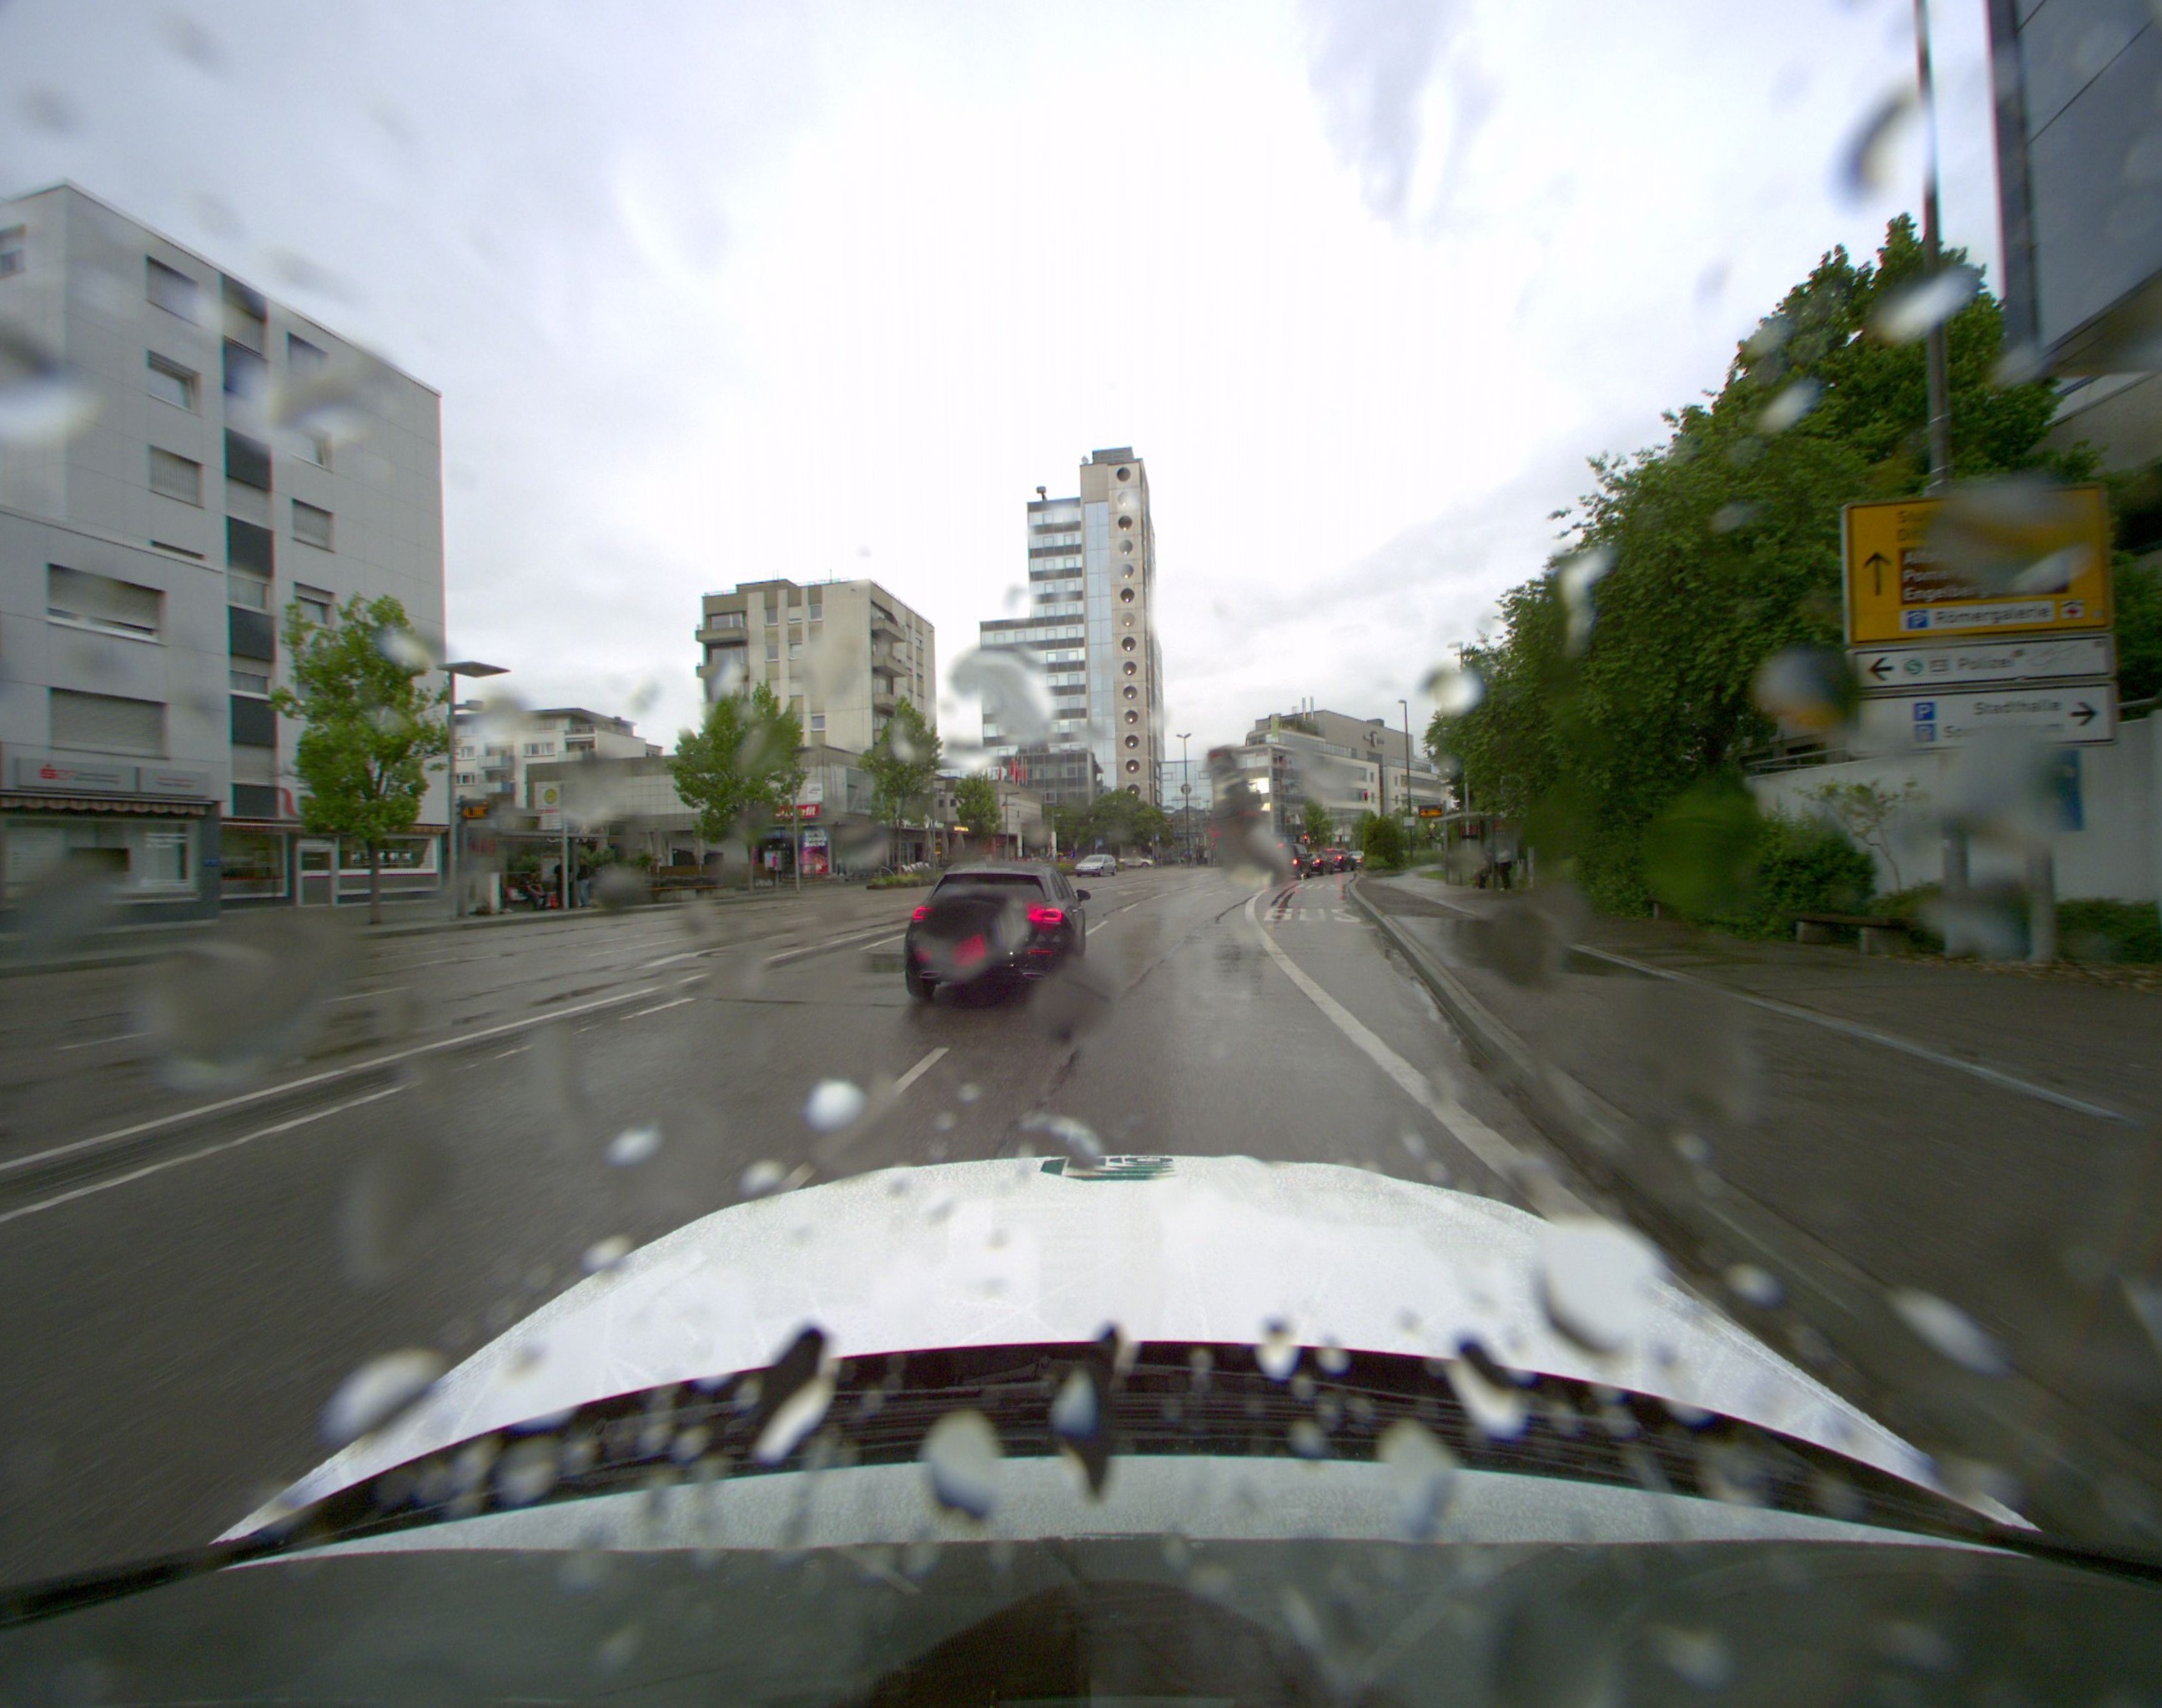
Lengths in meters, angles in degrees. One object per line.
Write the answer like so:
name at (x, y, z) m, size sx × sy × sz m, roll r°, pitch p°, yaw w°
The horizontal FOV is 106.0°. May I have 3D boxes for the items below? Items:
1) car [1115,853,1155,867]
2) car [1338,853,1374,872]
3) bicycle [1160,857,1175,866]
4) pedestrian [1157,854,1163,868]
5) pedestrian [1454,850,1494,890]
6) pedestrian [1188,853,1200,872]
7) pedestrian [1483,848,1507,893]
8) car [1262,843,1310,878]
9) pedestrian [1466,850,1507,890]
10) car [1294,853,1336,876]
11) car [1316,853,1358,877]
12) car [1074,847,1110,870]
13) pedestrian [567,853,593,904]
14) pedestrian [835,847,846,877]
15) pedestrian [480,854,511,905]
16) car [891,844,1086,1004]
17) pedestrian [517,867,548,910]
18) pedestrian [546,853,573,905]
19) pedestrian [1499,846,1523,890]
car at (6.124, 0.673, 92.325) m, size 4.159 × 1.595 × 1.878 m, roll -1°, pitch 0°, yaw 17°
car at (21.797, 0.646, 64.420) m, size 1.618 × 1.448 × 4.295 m, roll 0°, pitch 0°, yaw 33°
bicycle at (13.057, 1.150, 122.853) m, size 2.260 × 1.247 × 0.678 m, roll -1°, pitch -1°, yaw 9°
pedestrian at (11.359, 0.964, 116.608) m, size 0.760 × 2.014 × 0.714 m, roll 0°, pitch -1°, yaw 2°
pedestrian at (13.455, 0.541, 27.904) m, size 1.023 × 1.281 × 0.694 m, roll -3°, pitch -1°, yaw 9°
pedestrian at (11.822, 0.893, 85.395) m, size 1.157 × 2.014 × 1.330 m, roll 0°, pitch -1°, yaw 4°
pedestrian at (12.849, 0.515, 25.291) m, size 0.545 × 1.365 × 0.407 m, roll -2°, pitch -1°, yaw -37°
car at (11.617, 0.375, 45.996) m, size 1.978 × 1.894 × 4.611 m, roll 0°, pitch -1°, yaw 22°
pedestrian at (13.505, 0.534, 27.140) m, size 1.023 × 1.281 × 0.694 m, roll -3°, pitch -1°, yaw 9°
car at (15.069, 0.661, 52.308) m, size 1.616 × 1.386 × 4.542 m, roll 0°, pitch 0°, yaw 28°
car at (18.359, 0.766, 58.306) m, size 1.883 × 1.621 × 4.362 m, roll 0°, pitch 0°, yaw 31°
car at (0.764, 0.314, 54.279) m, size 1.689 × 1.466 × 4.116 m, roll -2°, pitch -1°, yaw 11°
pedestrian at (-16.300, 0.797, 26.501) m, size 0.475 × 1.659 × 0.538 m, roll -1°, pitch -1°, yaw 12°
pedestrian at (-14.722, 0.487, 49.844) m, size 0.422 × 1.848 × 0.504 m, roll -1°, pitch -1°, yaw 22°
pedestrian at (-17.539, 0.749, 24.411) m, size 0.535 × 1.505 × 0.613 m, roll 0°, pitch -1°, yaw -12°
car at (-0.892, 0.682, 9.809) m, size 1.809 × 1.530 × 3.813 m, roll -1°, pitch 0°, yaw 1°
pedestrian at (-17.193, 1.074, 25.534) m, size 0.531 × 1.352 × 0.581 m, roll -1°, pitch -1°, yaw 17°
pedestrian at (-16.900, 0.793, 26.393) m, size 0.531 × 1.659 × 0.481 m, roll -1°, pitch -1°, yaw 17°
pedestrian at (13.577, 0.446, 25.712) m, size 0.545 × 1.365 × 0.407 m, roll -2°, pitch -1°, yaw -38°
